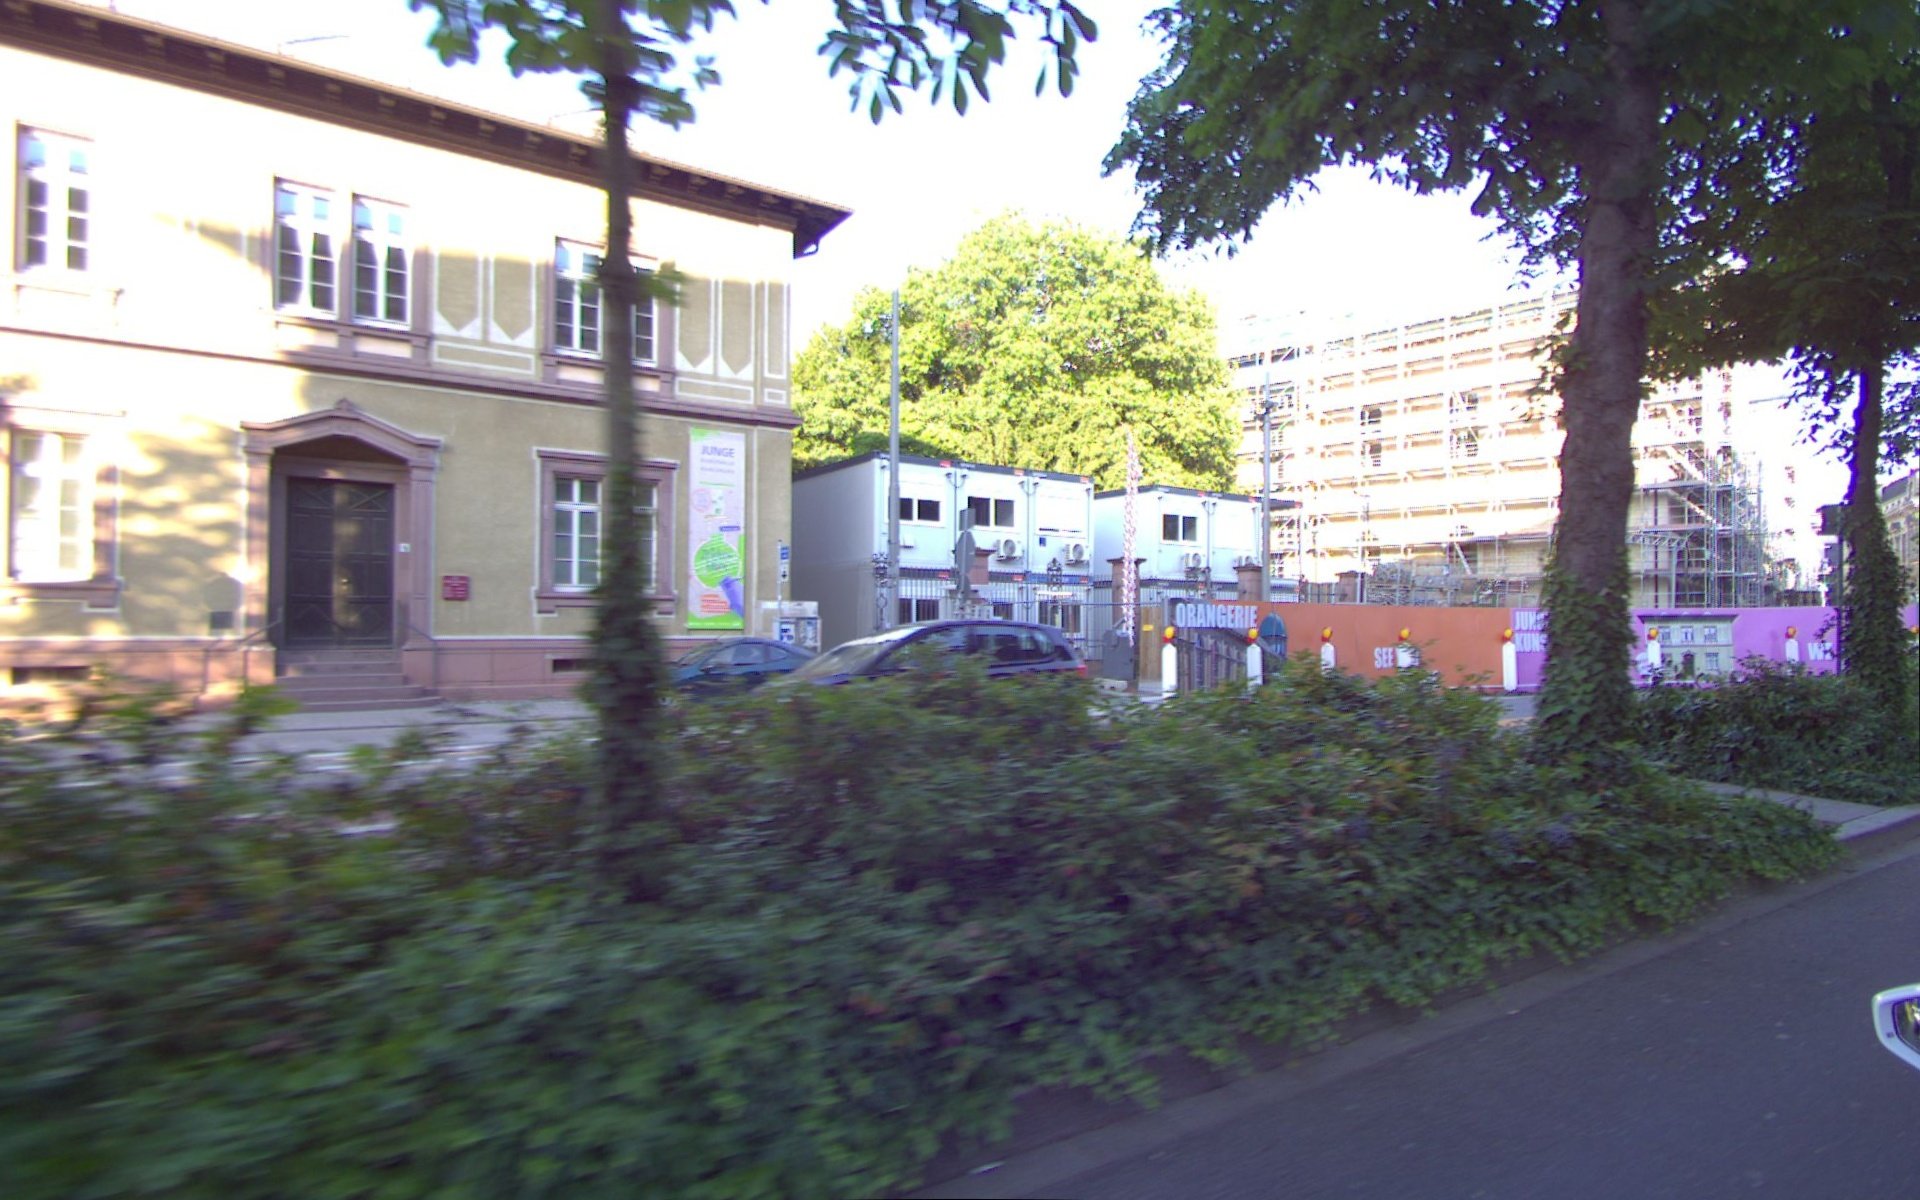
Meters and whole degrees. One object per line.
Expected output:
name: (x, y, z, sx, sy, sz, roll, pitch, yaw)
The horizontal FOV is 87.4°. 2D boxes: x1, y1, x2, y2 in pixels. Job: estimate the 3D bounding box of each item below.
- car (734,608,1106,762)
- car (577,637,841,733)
car: (-0.452, 0.940, 12.132, 4.123, 1.571, 1.835, 1, -3, -29)
car: (-4.014, 1.300, 16.318, 3.849, 1.369, 1.669, 1, -3, -36)
